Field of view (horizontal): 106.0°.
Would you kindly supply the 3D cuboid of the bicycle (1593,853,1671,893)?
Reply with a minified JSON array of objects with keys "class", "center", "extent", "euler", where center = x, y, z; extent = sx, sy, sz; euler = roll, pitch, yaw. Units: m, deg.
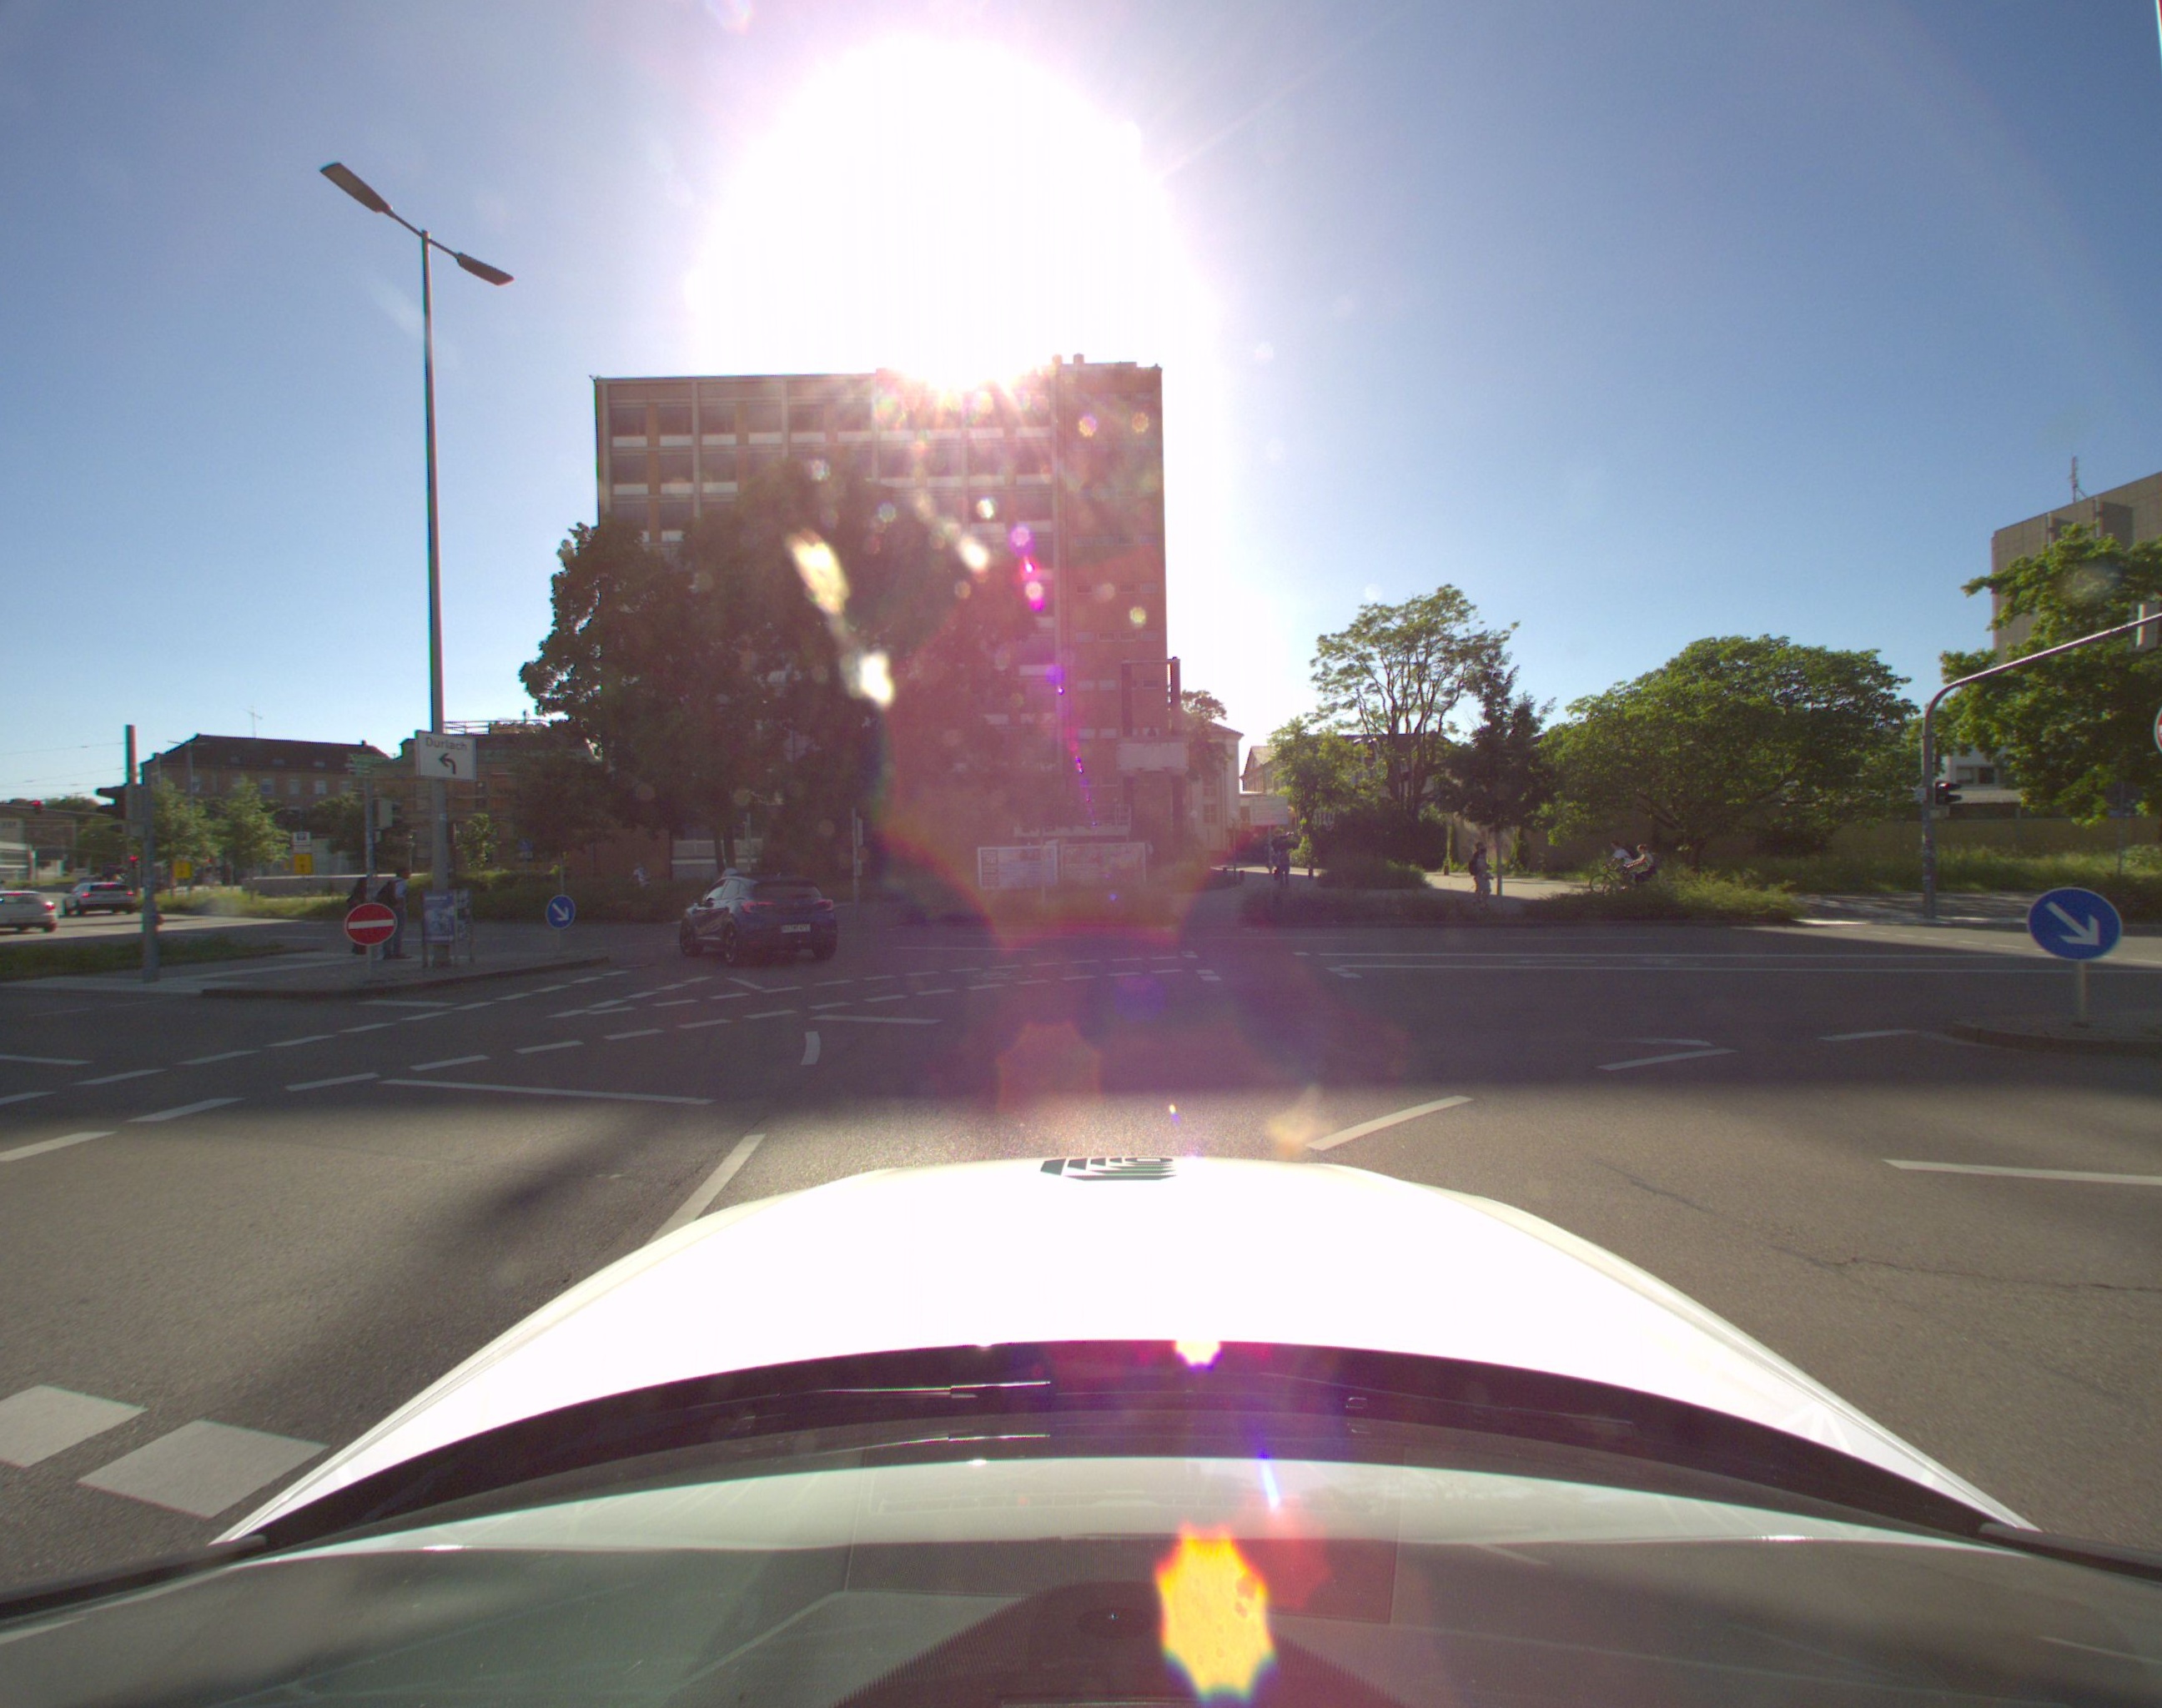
[{"class":"bicycle","center":[17.382,0.605,25.720],"extent":[1.937,1.165,0.645],"euler":[-2,2,13]}]

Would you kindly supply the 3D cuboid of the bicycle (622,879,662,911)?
[{"class":"bicycle","center":[-17.013,1.568,31.543],"extent":[1.846,1.165,0.753],"euler":[-1,0,41]}]

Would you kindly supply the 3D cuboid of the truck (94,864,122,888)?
[{"class":"truck","center":[-158.796,3.538,132.913],"extent":[5.160,3.674,2.617],"euler":[1,0,43]}]

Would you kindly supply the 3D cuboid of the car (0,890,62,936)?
[{"class":"car","center":[-36.772,1.988,27.727],"extent":[3.690,1.436,1.706],"euler":[-1,0,25]}]

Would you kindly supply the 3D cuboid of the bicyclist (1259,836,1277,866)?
[{"class":"bicyclist","center":[10.834,-0.178,47.080],"extent":[0.713,1.735,0.984],"euler":[-1,0,31]}]

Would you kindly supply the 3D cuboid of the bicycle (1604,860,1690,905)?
[{"class":"bicycle","center":[15.712,0.767,22.659],"extent":[0.646,1.165,1.849],"euler":[-3,2,-36]}]

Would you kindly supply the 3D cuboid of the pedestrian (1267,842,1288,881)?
[{"class":"pedestrian","center":[8.557,0.326,35.468],"extent":[0.669,1.643,0.740],"euler":[1,0,29]}]

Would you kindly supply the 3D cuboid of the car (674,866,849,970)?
[{"class":"car","center":[-6.036,1.079,15.161],"extent":[1.893,1.617,3.752],"euler":[-1,0,-41]}]

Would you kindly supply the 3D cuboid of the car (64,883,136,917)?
[{"class":"car","center":[-50.550,2.344,41.953],"extent":[3.578,1.618,1.895],"euler":[-2,-2,32]}]

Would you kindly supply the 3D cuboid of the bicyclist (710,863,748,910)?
[{"class":"bicyclist","center":[-12.340,1.139,28.567],"extent":[0.966,1.617,0.726],"euler":[-1,0,23]}]

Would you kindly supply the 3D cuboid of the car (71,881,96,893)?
[{"class":"car","center":[-136.541,4.502,111.542],"extent":[1.797,1.544,3.595],"euler":[1,0,-45]}]

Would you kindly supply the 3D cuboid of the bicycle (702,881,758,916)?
[{"class":"bicycle","center":[-12.321,1.552,28.573],"extent":[1.847,1.165,0.722],"euler":[-1,0,24]}]

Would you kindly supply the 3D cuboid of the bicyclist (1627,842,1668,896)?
[{"class":"bicyclist","center":[15.726,0.410,22.612],"extent":[0.646,1.444,0.768],"euler":[-3,2,-37]}]

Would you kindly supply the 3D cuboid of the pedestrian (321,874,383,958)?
[{"class":"pedestrian","center":[-14.586,1.227,16.309],"extent":[0.710,1.612,0.686],"euler":[-2,-1,26]}]

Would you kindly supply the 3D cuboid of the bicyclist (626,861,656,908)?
[{"class":"bicyclist","center":[-17.057,1.168,31.575],"extent":[0.965,1.762,0.726],"euler":[-1,0,41]}]

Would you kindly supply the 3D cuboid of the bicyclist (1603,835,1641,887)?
[{"class":"bicyclist","center":[17.107,0.215,25.761],"extent":[0.824,1.595,0.634],"euler":[-2,3,13]}]

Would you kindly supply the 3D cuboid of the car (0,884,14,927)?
[{"class":"car","center":[-43.011,2.006,31.008],"extent":[4.323,1.624,2.002],"euler":[-1,0,25]}]

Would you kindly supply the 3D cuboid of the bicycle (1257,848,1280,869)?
[{"class":"bicycle","center":[10.847,0.229,47.091],"extent":[0.738,1.165,1.882],"euler":[-1,0,31]}]

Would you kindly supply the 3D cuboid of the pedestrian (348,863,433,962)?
[{"class":"pedestrian","center":[-13.396,1.097,15.826],"extent":[0.753,1.833,1.093],"euler":[-1,-1,-6]}]

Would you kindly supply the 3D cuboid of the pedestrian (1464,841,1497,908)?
[{"class":"pedestrian","center":[11.170,0.568,22.778],"extent":[0.727,1.816,0.735],"euler":[1,0,20]}]

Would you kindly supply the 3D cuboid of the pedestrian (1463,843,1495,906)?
[{"class":"pedestrian","center":[11.595,0.580,23.737],"extent":[0.727,1.782,0.735],"euler":[1,0,20]}]

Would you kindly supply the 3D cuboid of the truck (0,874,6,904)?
[{"class":"truck","center":[-85.208,2.739,60.827],"extent":[2.219,2.313,6.846],"euler":[-1,0,-16]}]

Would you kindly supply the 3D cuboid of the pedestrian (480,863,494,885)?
[{"class":"pedestrian","center":[-47.642,1.612,65.329],"extent":[0.534,1.752,0.790],"euler":[1,0,4]}]

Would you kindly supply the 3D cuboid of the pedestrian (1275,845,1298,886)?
[{"class":"pedestrian","center":[8.250,0.451,32.647],"extent":[0.669,1.643,0.740],"euler":[1,0,32]}]
